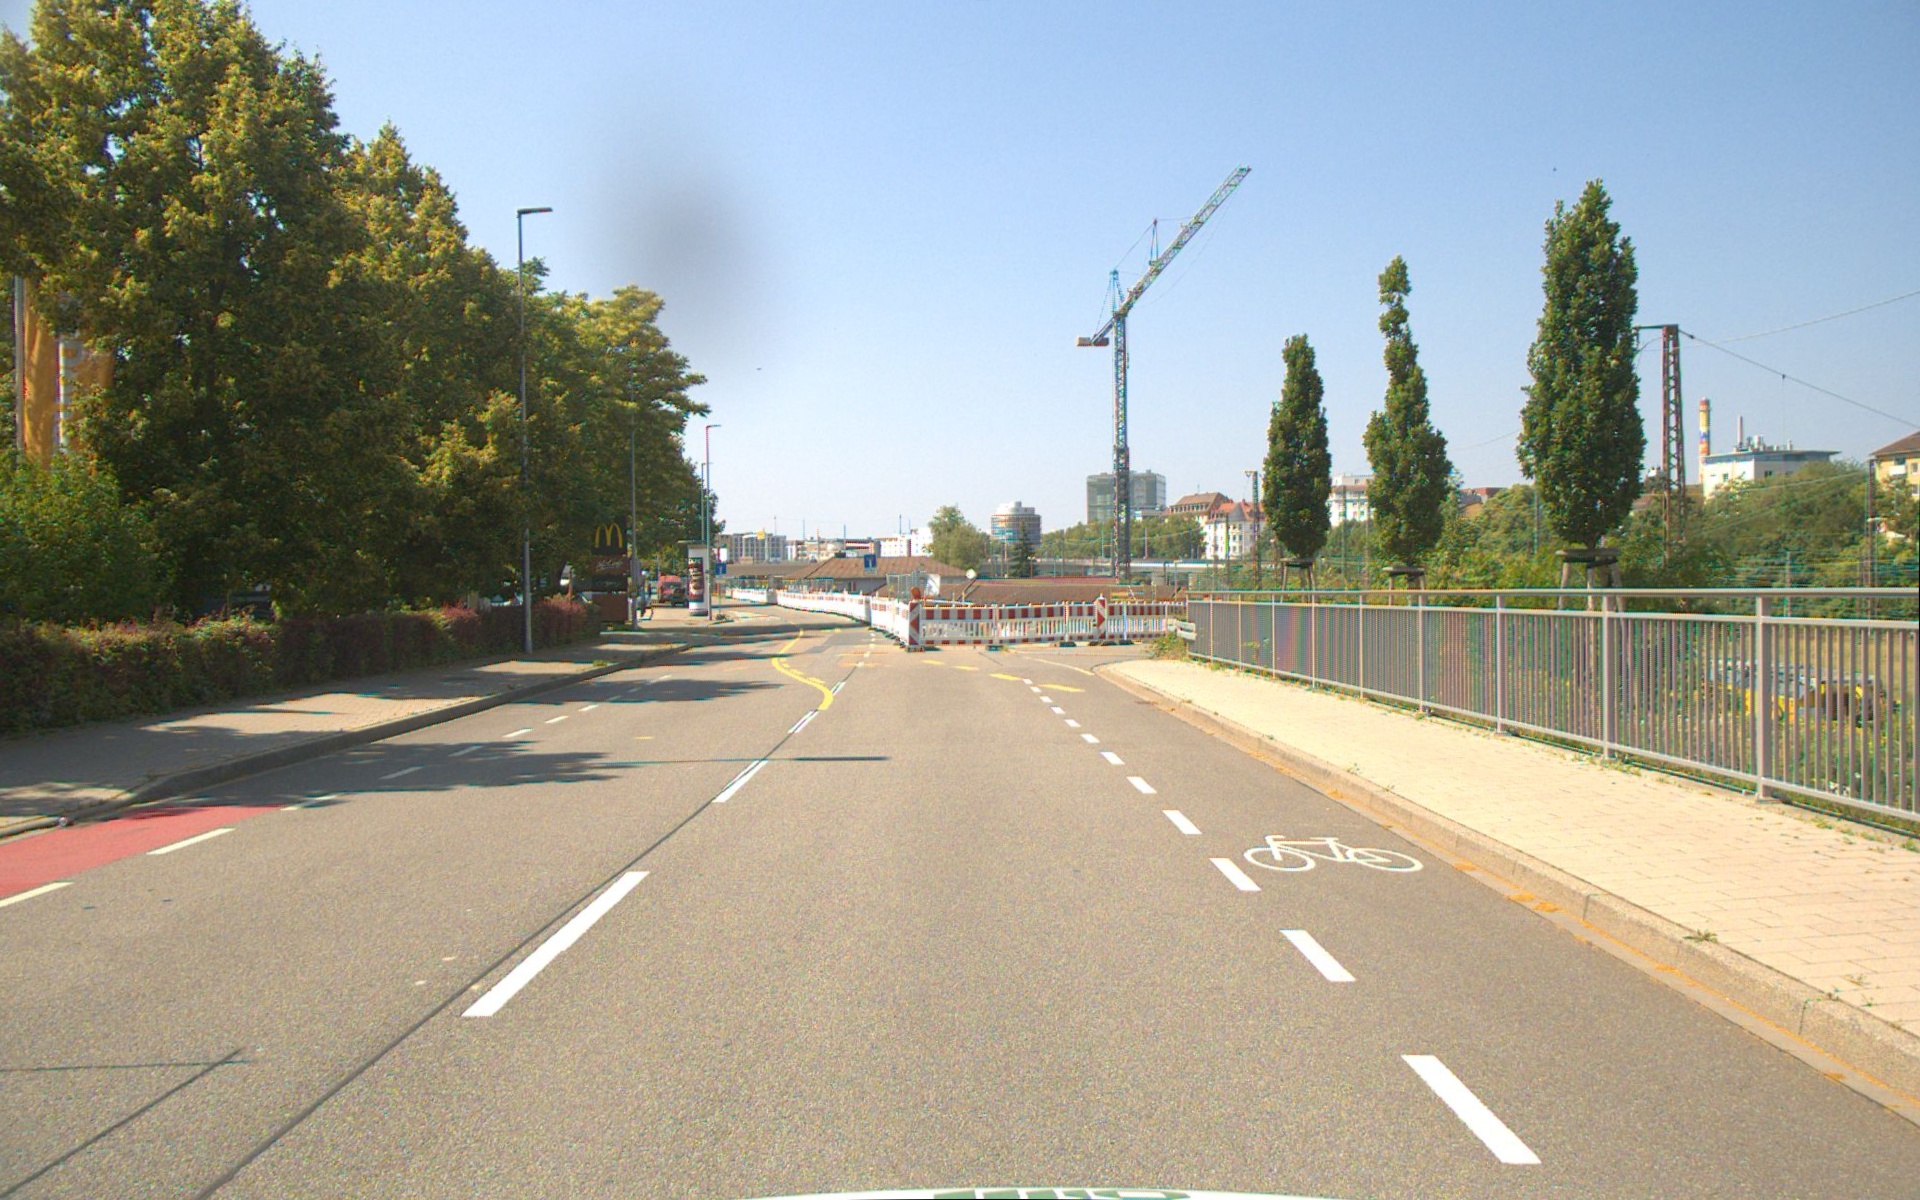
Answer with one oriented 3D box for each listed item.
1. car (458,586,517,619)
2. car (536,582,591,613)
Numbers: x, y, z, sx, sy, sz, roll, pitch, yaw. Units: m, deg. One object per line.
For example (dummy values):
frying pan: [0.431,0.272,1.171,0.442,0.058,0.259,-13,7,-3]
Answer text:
car: [-28.851,0.162,100.889,1.983,1.937,3.940,-1,0,-41]
car: [-25.485,-0.163,106.164,1.813,1.963,3.940,-1,0,-41]
